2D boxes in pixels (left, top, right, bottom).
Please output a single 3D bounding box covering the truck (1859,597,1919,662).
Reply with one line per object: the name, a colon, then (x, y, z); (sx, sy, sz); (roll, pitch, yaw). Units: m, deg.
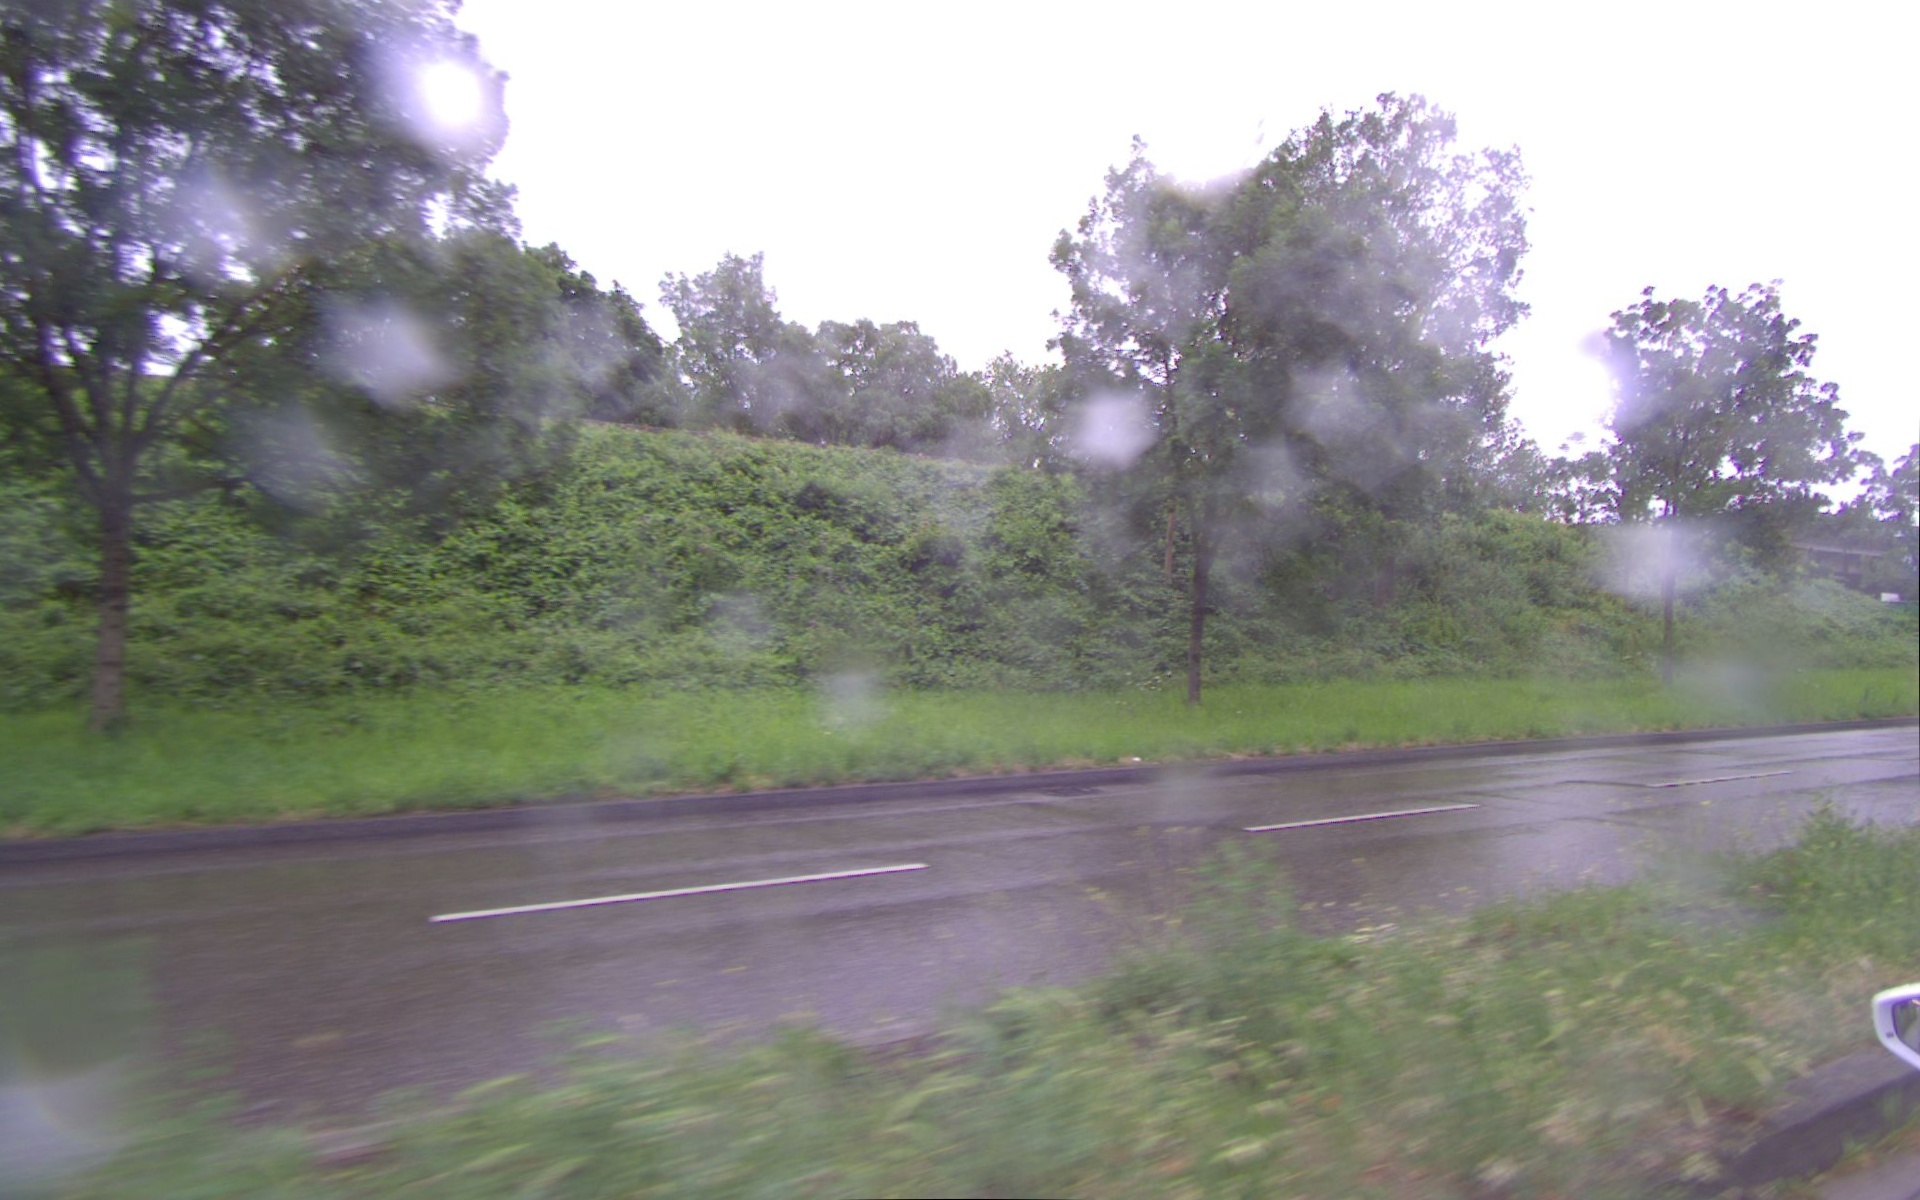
truck: (56.045, 1.791, 54.836); (9.953, 3.497, 2.656); (2, -1, 27)
